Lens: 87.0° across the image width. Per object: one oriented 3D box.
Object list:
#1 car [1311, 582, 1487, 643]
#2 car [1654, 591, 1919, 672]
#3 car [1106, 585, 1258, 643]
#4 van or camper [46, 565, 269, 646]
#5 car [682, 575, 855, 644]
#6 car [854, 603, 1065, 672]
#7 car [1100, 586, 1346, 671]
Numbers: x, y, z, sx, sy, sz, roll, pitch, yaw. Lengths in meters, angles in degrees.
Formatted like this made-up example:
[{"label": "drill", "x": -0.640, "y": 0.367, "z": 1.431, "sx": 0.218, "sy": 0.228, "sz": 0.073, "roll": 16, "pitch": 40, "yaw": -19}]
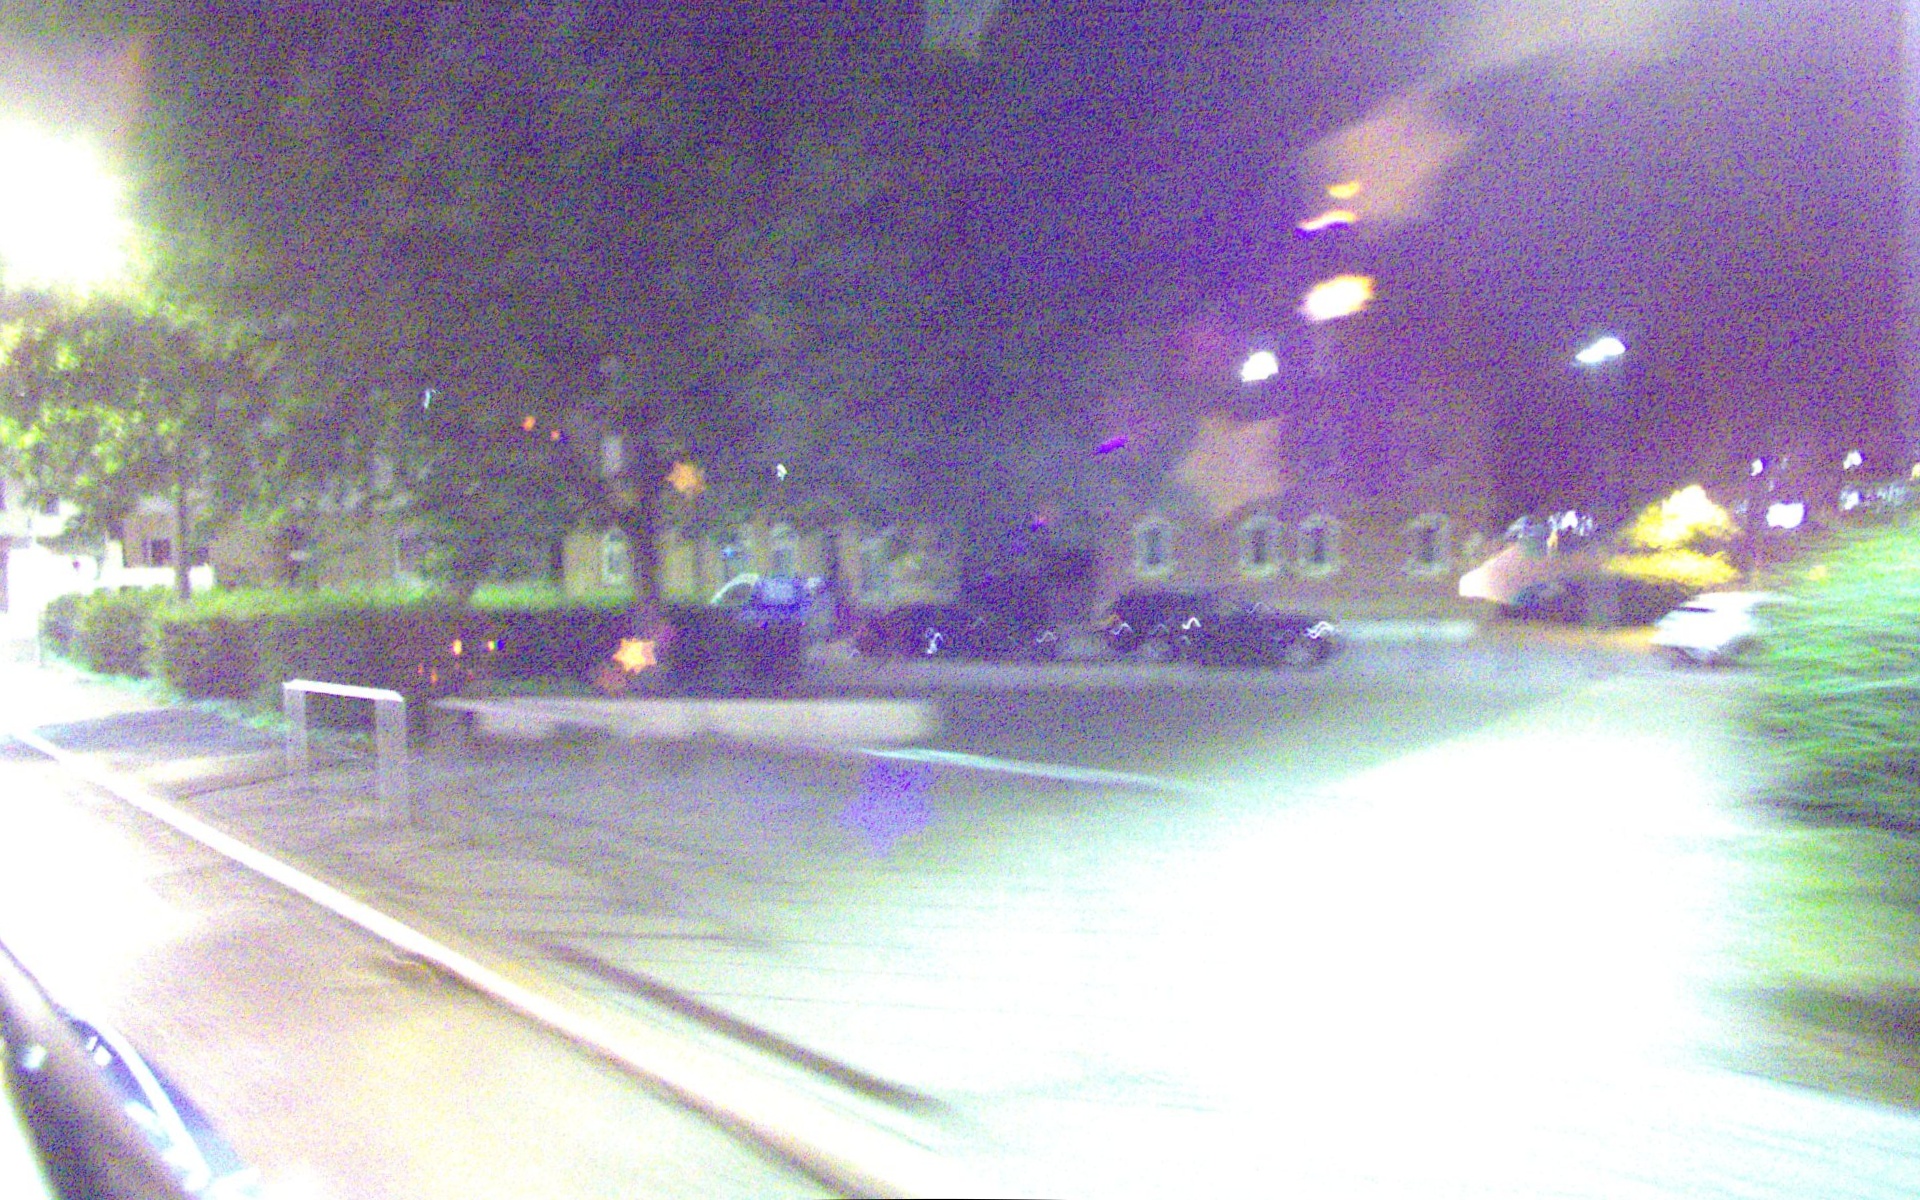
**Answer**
[{"label": "car", "x": 11.849, "y": 0.319, "z": 27.565, "sx": 4.057, "sy": 1.578, "sz": 1.678, "roll": 0, "pitch": 2, "yaw": 8}, {"label": "car", "x": 16.335, "y": 0.600, "z": 19.942, "sx": 3.978, "sy": 1.456, "sz": 1.760, "roll": -1, "pitch": 1, "yaw": 8}, {"label": "car", "x": 6.197, "y": 0.378, "z": 28.653, "sx": 4.051, "sy": 1.521, "sz": 1.707, "roll": 0, "pitch": 3, "yaw": 8}, {"label": "van or camper", "x": -26.493, "y": 0.208, "z": 33.481, "sx": 6.153, "sy": 2.555, "sz": 2.160, "roll": 0, "pitch": 0, "yaw": 8}, {"label": "car", "x": -5.707, "y": 0.260, "z": 30.456, "sx": 4.750, "sy": 1.969, "sz": 1.995, "roll": -1, "pitch": 2, "yaw": 8}, {"label": "car", "x": 0.049, "y": 0.802, "z": 22.264, "sx": 4.422, "sy": 1.425, "sz": 1.881, "roll": -1, "pitch": 0, "yaw": 9}, {"label": "car", "x": 5.434, "y": 0.587, "z": 21.555, "sx": 4.825, "sy": 1.707, "sz": 2.041, "roll": 0, "pitch": 0, "yaw": 9}]
